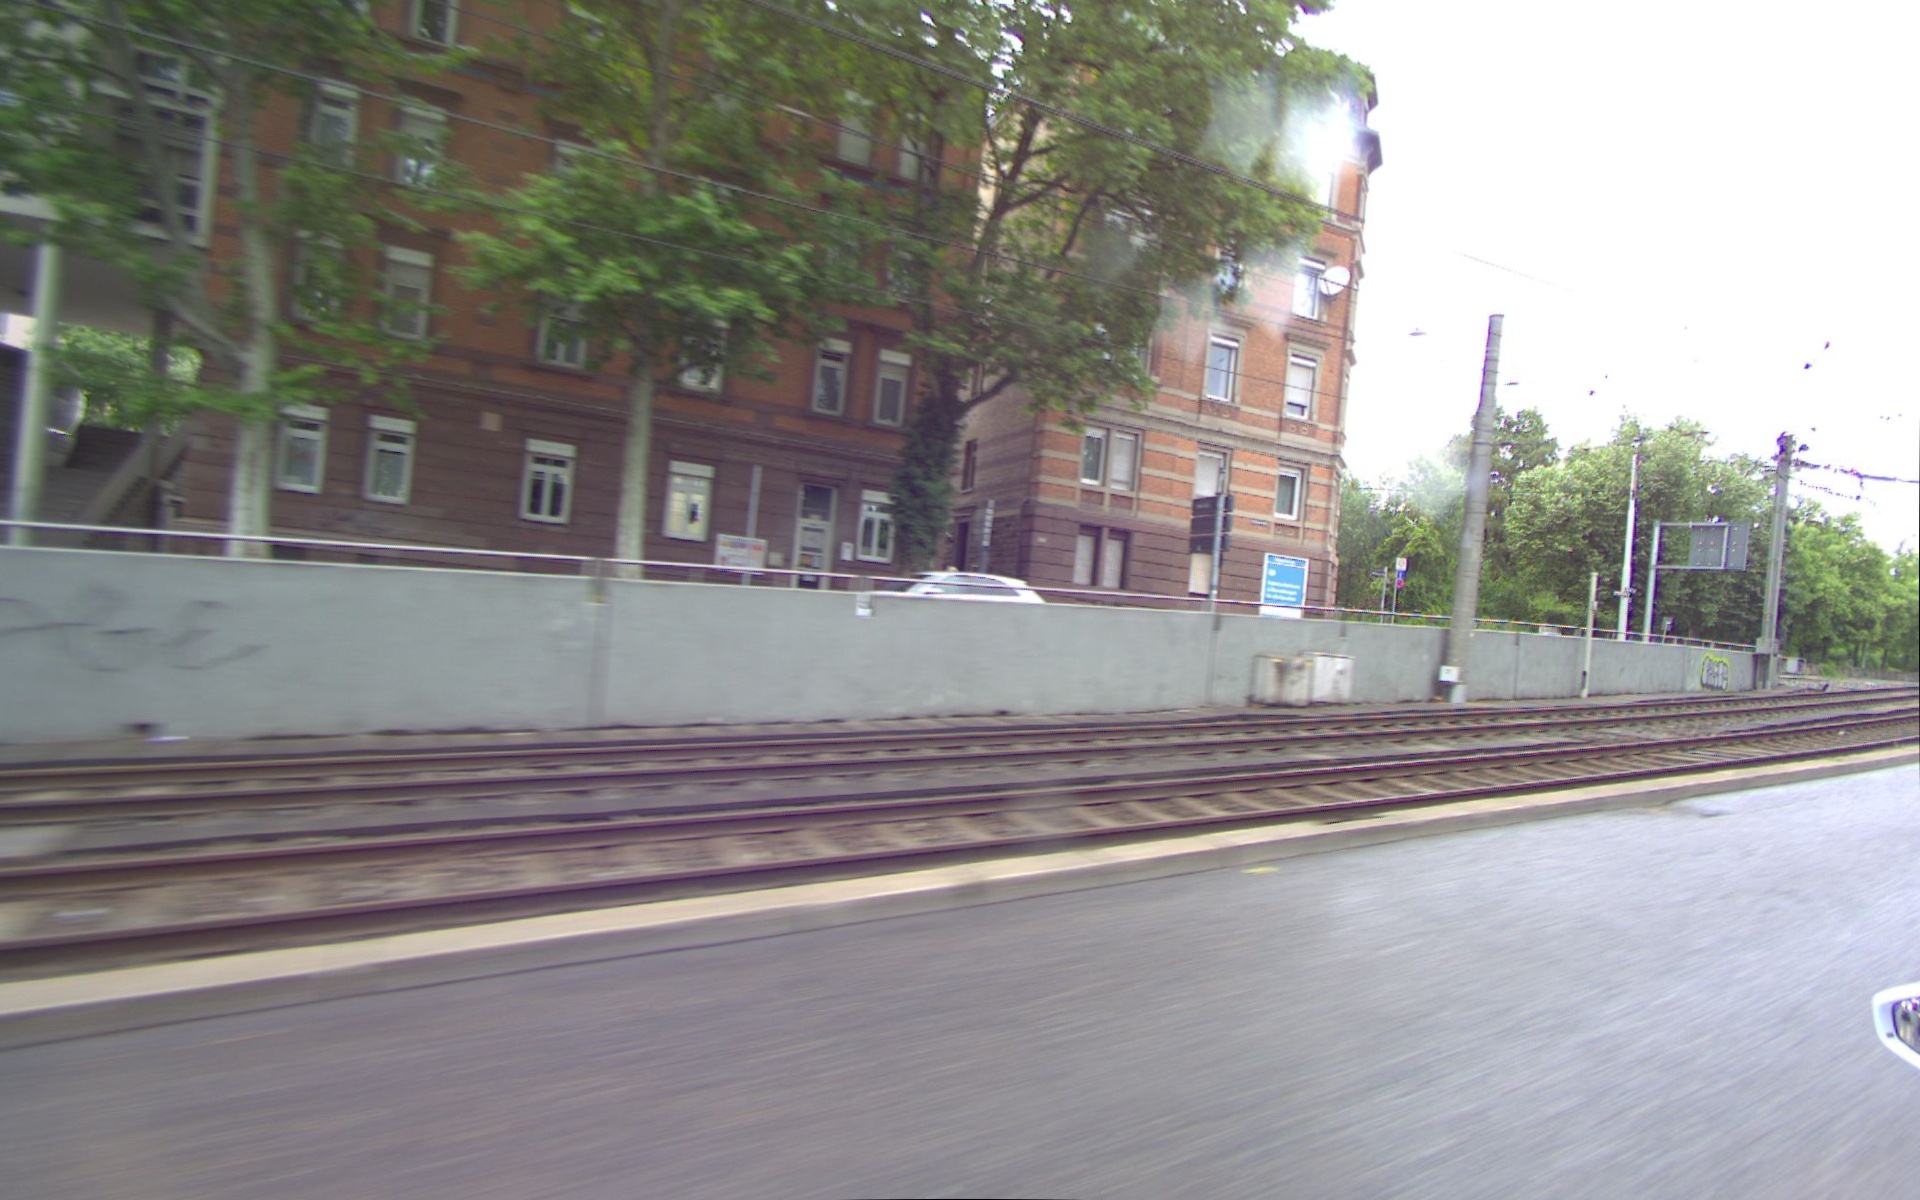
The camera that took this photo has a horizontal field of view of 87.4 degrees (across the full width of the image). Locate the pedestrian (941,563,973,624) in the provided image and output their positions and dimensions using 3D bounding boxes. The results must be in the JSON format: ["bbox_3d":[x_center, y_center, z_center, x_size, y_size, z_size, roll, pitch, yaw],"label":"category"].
[{"bbox_3d":[-0.081,-0.174,28.156,0.711,1.646,0.593,2,-1,-17],"label":"pedestrian"}]

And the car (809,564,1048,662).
[{"bbox_3d":[-0.601,0.270,19.795,4.306,1.633,1.786,3,2,-29],"label":"car"}]

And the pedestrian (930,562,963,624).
[{"bbox_3d":[-0.366,-0.179,27.321,0.711,1.646,0.593,2,-1,-17],"label":"pedestrian"}]
